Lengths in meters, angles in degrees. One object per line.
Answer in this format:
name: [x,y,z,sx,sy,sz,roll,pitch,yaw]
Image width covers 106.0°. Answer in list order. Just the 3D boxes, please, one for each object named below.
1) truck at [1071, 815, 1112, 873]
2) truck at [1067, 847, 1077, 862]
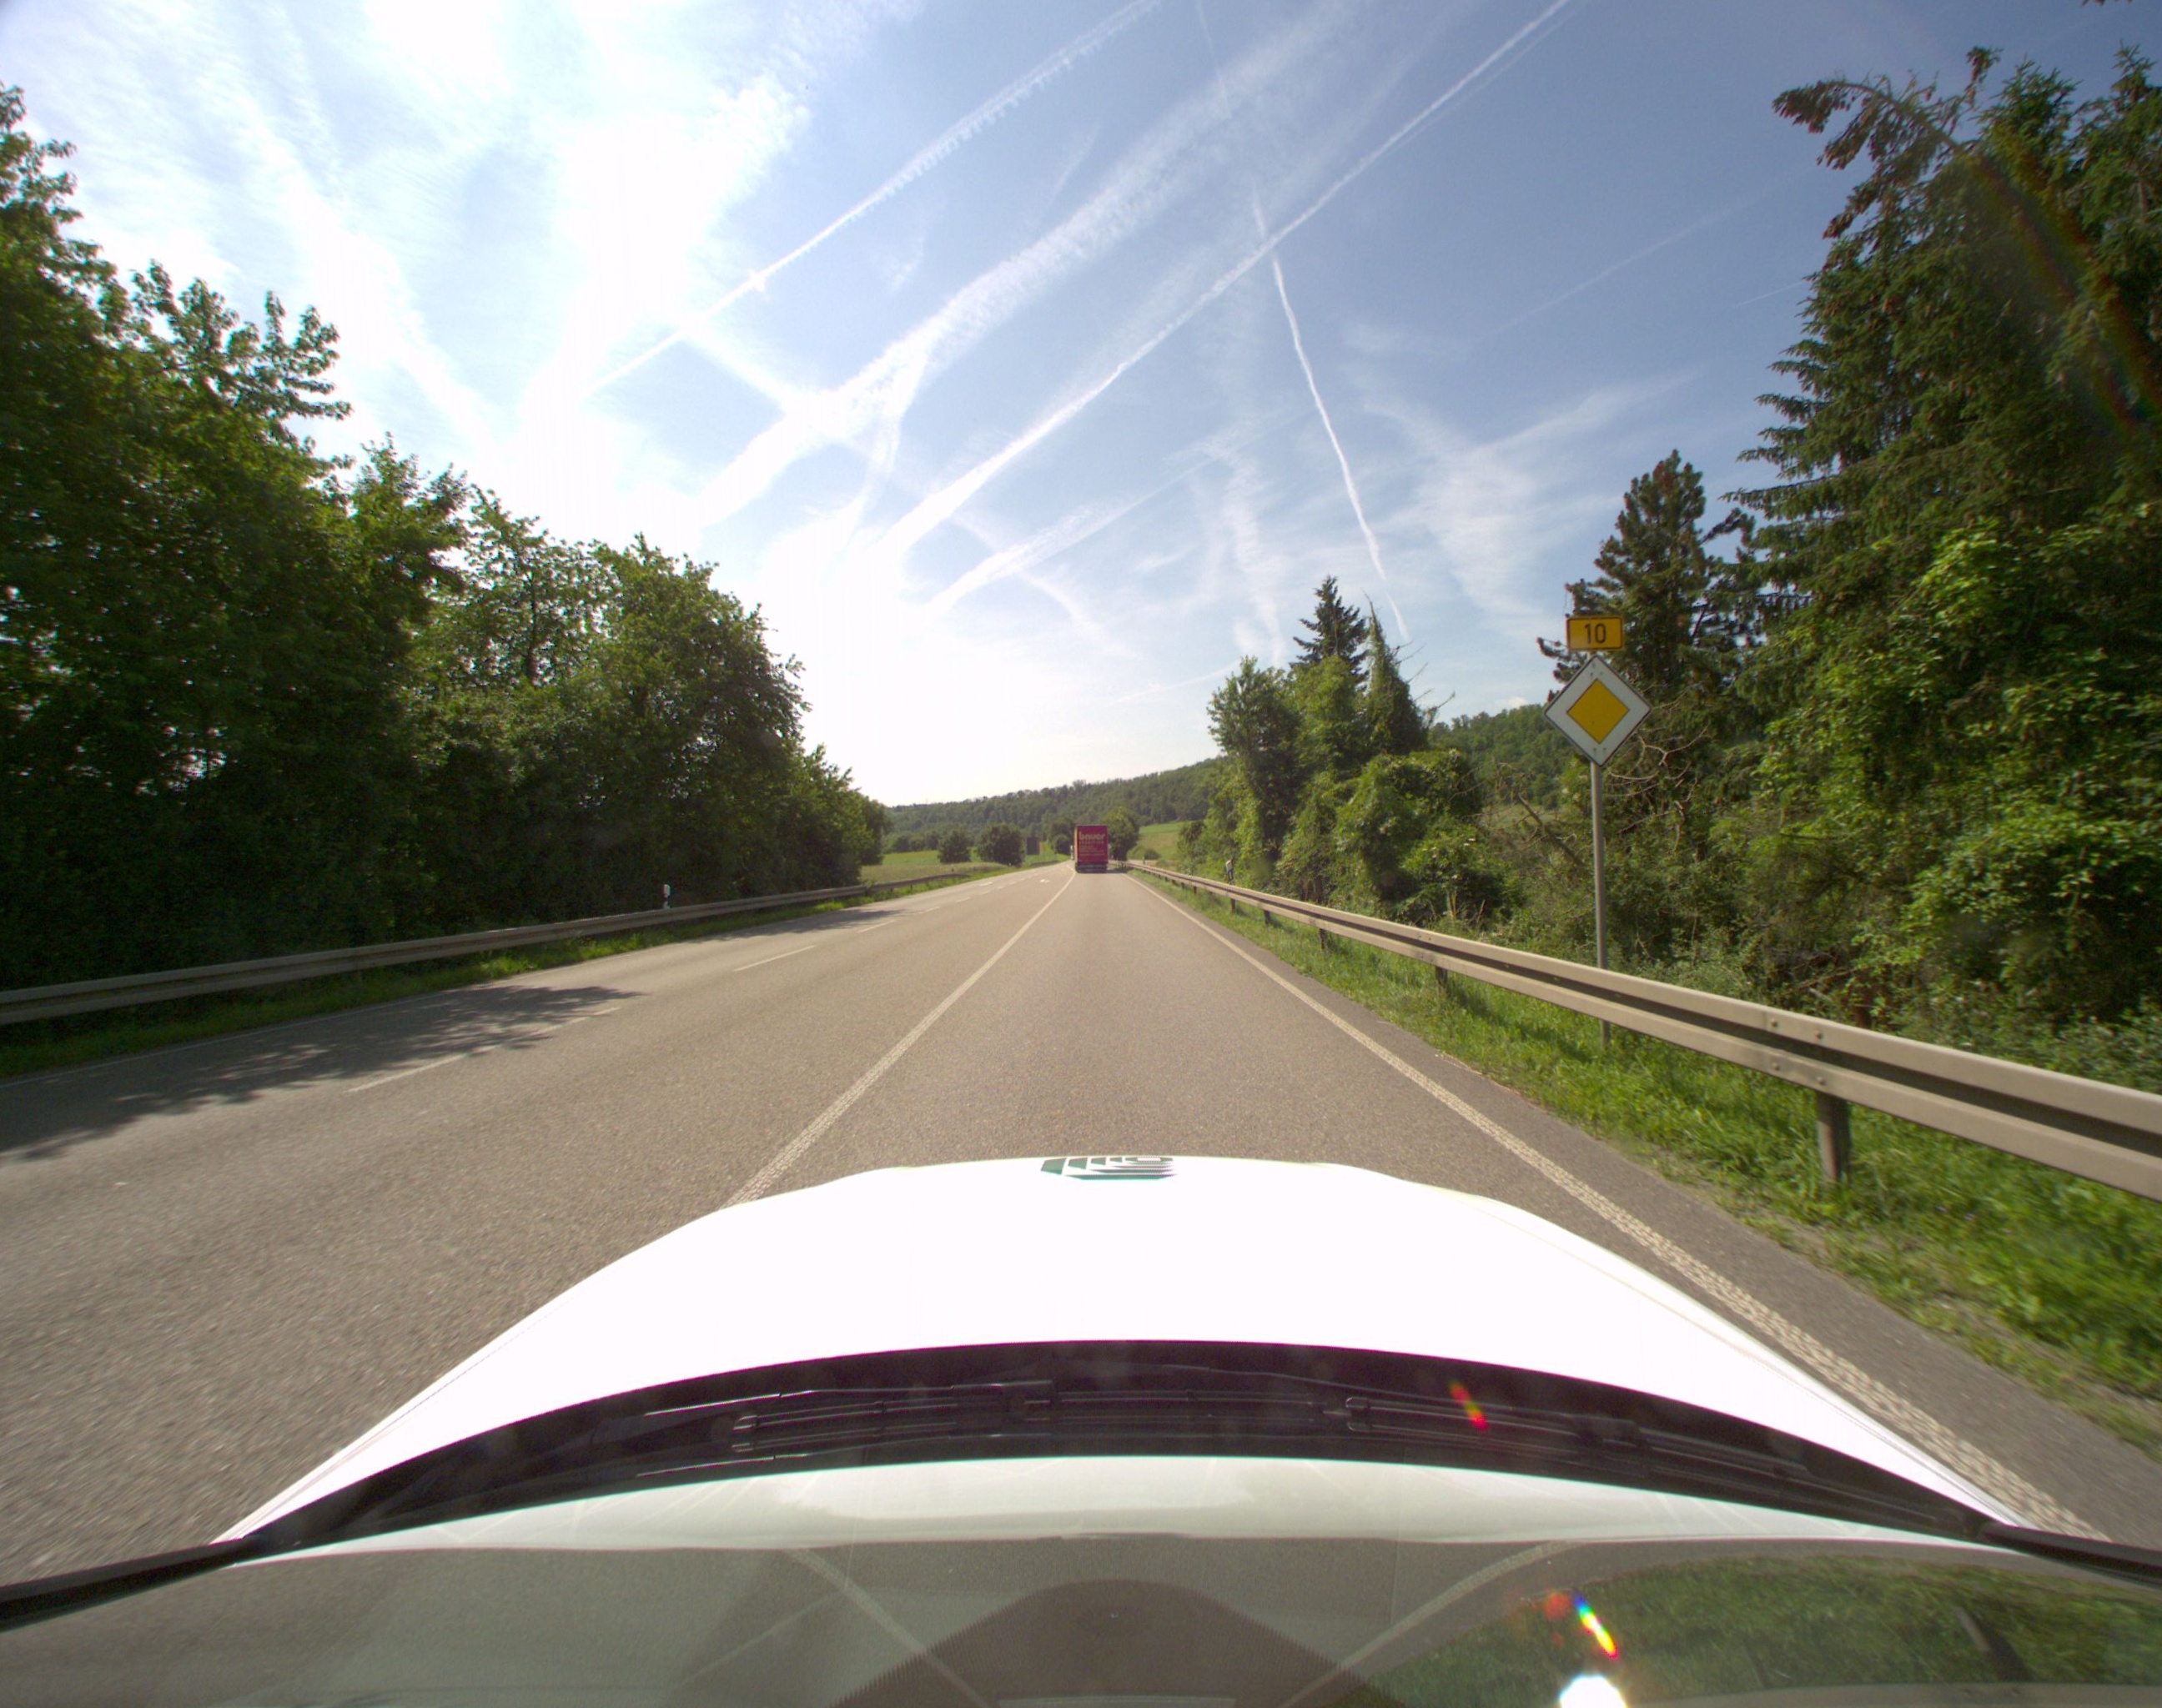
truck: [0.819,-0.839,72.564,3.162,4.625,13.540,-2,0,0]
truck: [-2.565,0.100,229.857,2.521,4.119,6.023,-3,0,1]
